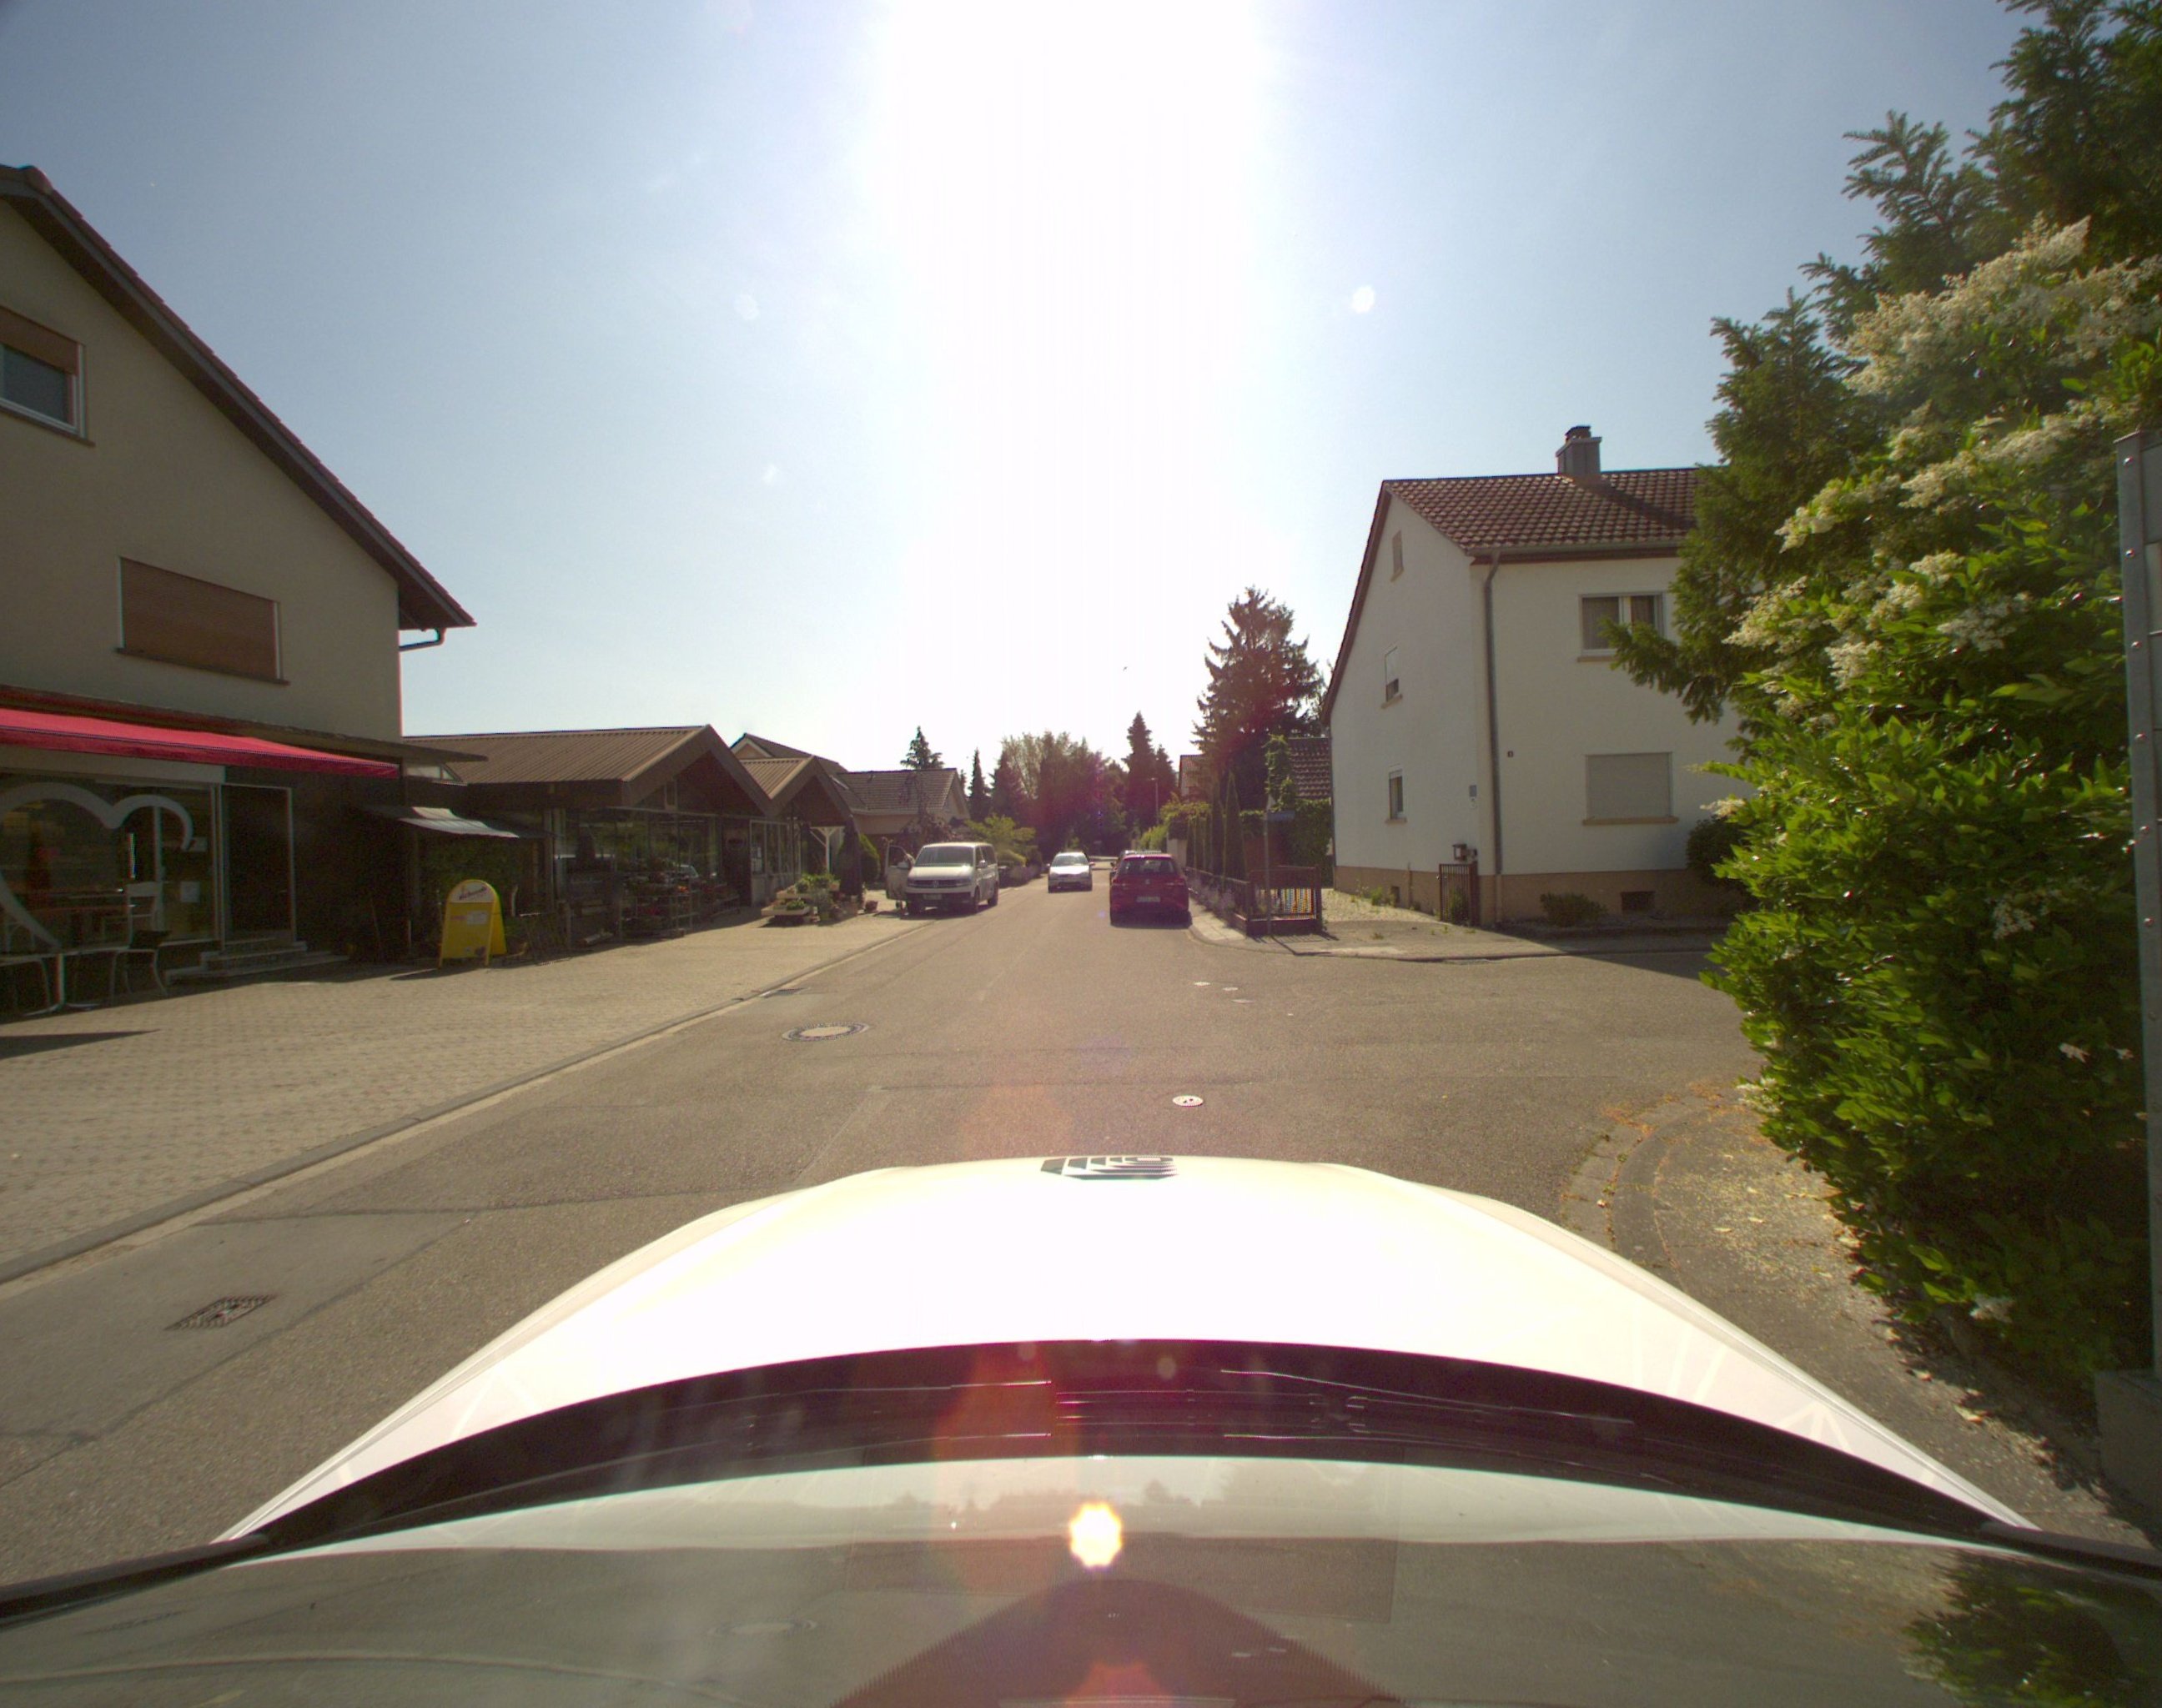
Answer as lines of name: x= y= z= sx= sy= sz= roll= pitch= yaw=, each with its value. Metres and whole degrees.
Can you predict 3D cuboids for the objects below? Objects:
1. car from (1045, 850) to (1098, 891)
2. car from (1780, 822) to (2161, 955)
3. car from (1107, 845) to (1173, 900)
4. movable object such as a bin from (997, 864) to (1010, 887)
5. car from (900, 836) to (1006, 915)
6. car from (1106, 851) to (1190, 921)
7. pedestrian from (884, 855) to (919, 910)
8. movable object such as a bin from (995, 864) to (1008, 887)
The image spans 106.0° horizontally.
car: x=-0.308 y=0.605 z=32.841 sx=1.745 sy=1.487 sz=4.379 roll=-2 pitch=0 yaw=3
car: x=11.985 y=0.403 z=10.722 sx=3.971 sy=1.530 sz=1.798 roll=-2 pitch=0 yaw=1
car: x=1.810 y=0.541 z=26.035 sx=1.816 sy=1.615 sz=3.999 roll=-1 pitch=0 yaw=0
movable object such as a bin: x=-3.543 y=1.003 z=37.378 sx=0.492 sy=1.024 sz=0.448 roll=-2 pitch=0 yaw=2
car: x=-3.572 y=0.567 z=23.756 sx=1.920 sy=2.013 sz=4.901 roll=-2 pitch=0 yaw=4
car: x=1.633 y=0.672 z=19.254 sx=1.766 sy=1.479 sz=4.007 roll=0 pitch=0 yaw=6
pedestrian: x=-5.155 y=0.812 z=23.414 sx=0.710 sy=1.538 sz=0.646 roll=-1 pitch=1 yaw=36
movable object such as a bin: x=-3.592 y=0.985 z=36.916 sx=0.492 sy=1.024 sz=0.448 roll=-2 pitch=0 yaw=2
